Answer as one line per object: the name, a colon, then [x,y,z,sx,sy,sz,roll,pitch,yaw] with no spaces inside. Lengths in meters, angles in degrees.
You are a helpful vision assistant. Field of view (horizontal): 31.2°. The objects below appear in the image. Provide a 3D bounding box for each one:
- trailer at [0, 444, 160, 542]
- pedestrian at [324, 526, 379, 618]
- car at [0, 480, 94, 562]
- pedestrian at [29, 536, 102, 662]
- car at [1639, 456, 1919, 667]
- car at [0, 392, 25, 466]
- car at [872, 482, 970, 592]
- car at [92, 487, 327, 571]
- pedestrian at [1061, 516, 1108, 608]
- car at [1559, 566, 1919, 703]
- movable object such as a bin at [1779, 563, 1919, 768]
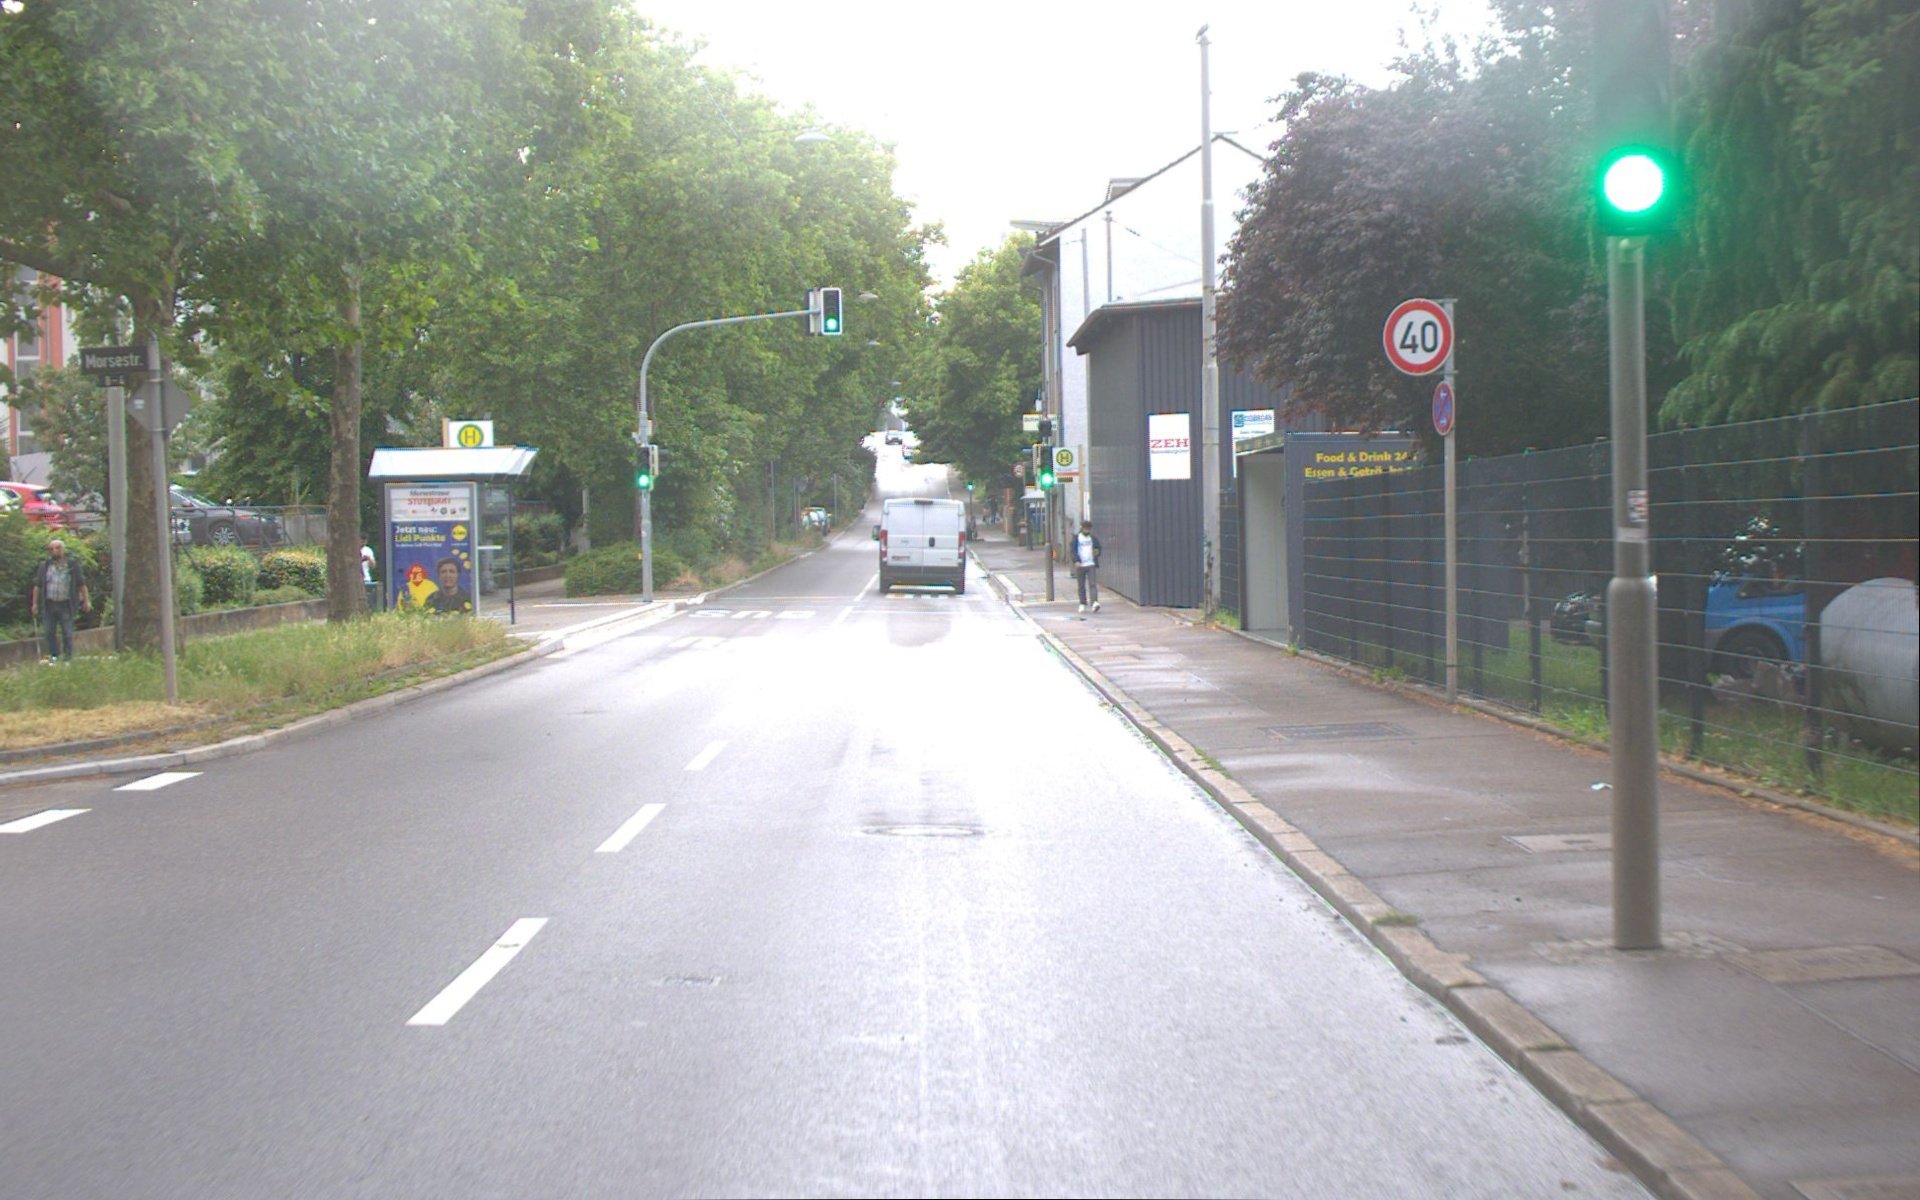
trailer: [-15.359,-1.837,59.408,2.704,1.639,1.480,1,1,0]
pedestrian: [-10.917,-0.501,61.718,0.741,1.593,0.606,-4,-1,3]
car: [-16.675,-1.329,57.180,4.088,1.298,1.810,1,0,0]
pedestrian: [-11.518,-0.011,44.290,0.755,1.605,0.835,1,0,-5]
car: [10.473,-0.401,37.748,5.566,2.203,2.000,1,1,-2]
car: [-23.324,-3.892,77.947,3.809,1.596,1.718,1,0,-2]
car: [-0.914,-1.474,82.260,2.282,2.544,4.000,0,0,0]
car: [-15.912,-1.498,73.051,4.545,1.666,2.000,1,0,-1]
pedestrian: [2.315,-0.703,64.025,0.742,1.698,0.902,1,0,-6]
car: [9.399,0.391,40.317,4.378,1.525,1.794,-1,0,-2]
movable object such as a bin: [6.921,0.427,24.204,1.370,1.315,2.860,1,1,-5]
